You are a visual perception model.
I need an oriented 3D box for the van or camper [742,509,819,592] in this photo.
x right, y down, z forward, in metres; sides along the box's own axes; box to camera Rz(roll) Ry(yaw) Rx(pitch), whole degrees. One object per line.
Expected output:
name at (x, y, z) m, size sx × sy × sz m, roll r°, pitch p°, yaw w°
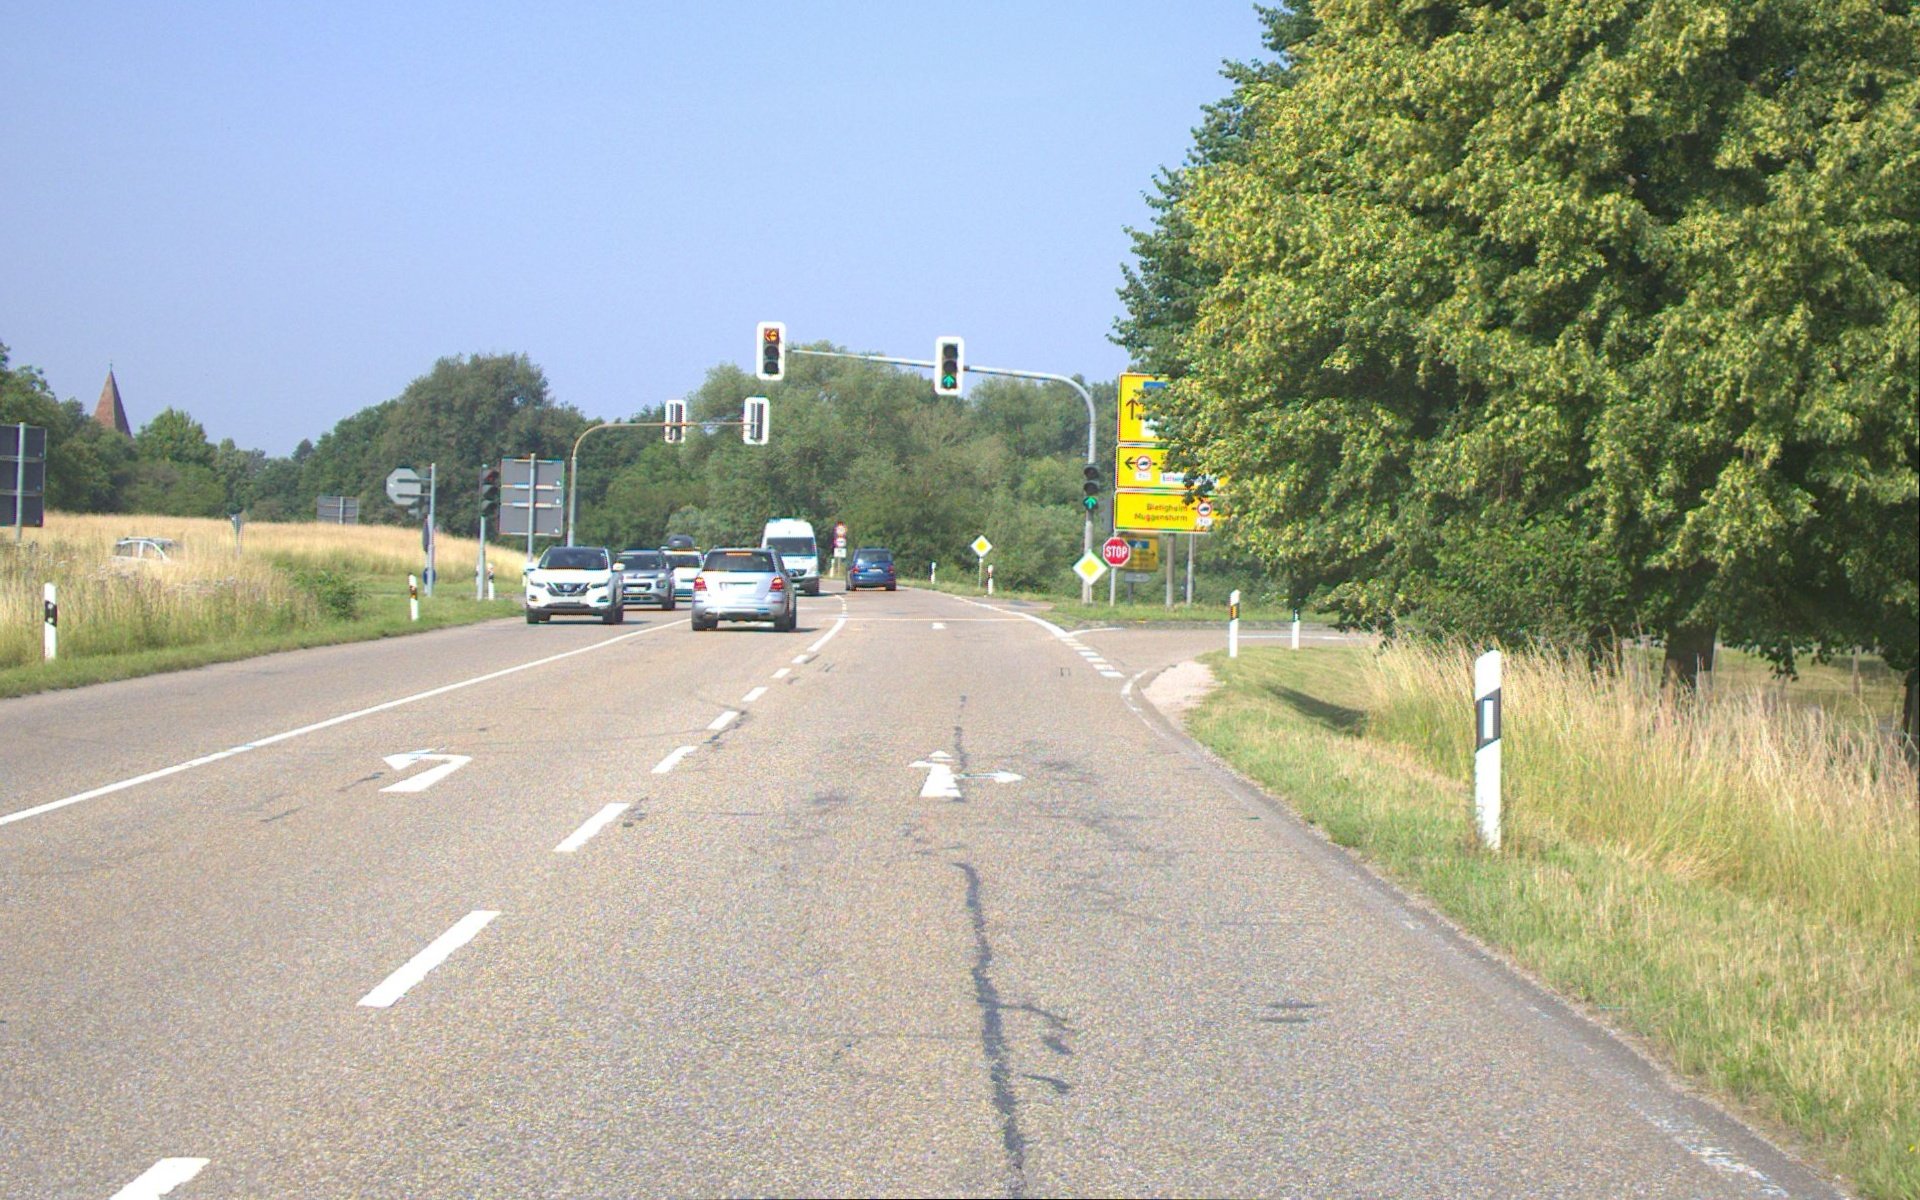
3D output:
van or camper at (-6.327, -1.762, 121.834) m, size 2.265 × 2.700 × 5.262 m, roll 5°, pitch 1°, yaw 0°

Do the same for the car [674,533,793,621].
car at (-4.351, -0.457, 66.594) m, size 1.899 × 1.506 × 4.000 m, roll 5°, pitch 1°, yaw 0°

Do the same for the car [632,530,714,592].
car at (-8.856, -1.218, 106.343) m, size 1.933 × 1.722 × 4.000 m, roll 5°, pitch 1°, yaw 2°

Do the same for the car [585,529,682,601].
car at (-8.657, -0.951, 91.454) m, size 1.933 × 1.722 × 4.000 m, roll 5°, pitch 1°, yaw 2°

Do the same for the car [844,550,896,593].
car at (-3.447, -1.112, 132.638) m, size 1.816 × 1.515 × 4.000 m, roll 5°, pitch 1°, yaw -1°

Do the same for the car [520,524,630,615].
car at (-7.990, -0.640, 71.669) m, size 1.592 × 1.722 × 4.000 m, roll 5°, pitch 1°, yaw 2°
